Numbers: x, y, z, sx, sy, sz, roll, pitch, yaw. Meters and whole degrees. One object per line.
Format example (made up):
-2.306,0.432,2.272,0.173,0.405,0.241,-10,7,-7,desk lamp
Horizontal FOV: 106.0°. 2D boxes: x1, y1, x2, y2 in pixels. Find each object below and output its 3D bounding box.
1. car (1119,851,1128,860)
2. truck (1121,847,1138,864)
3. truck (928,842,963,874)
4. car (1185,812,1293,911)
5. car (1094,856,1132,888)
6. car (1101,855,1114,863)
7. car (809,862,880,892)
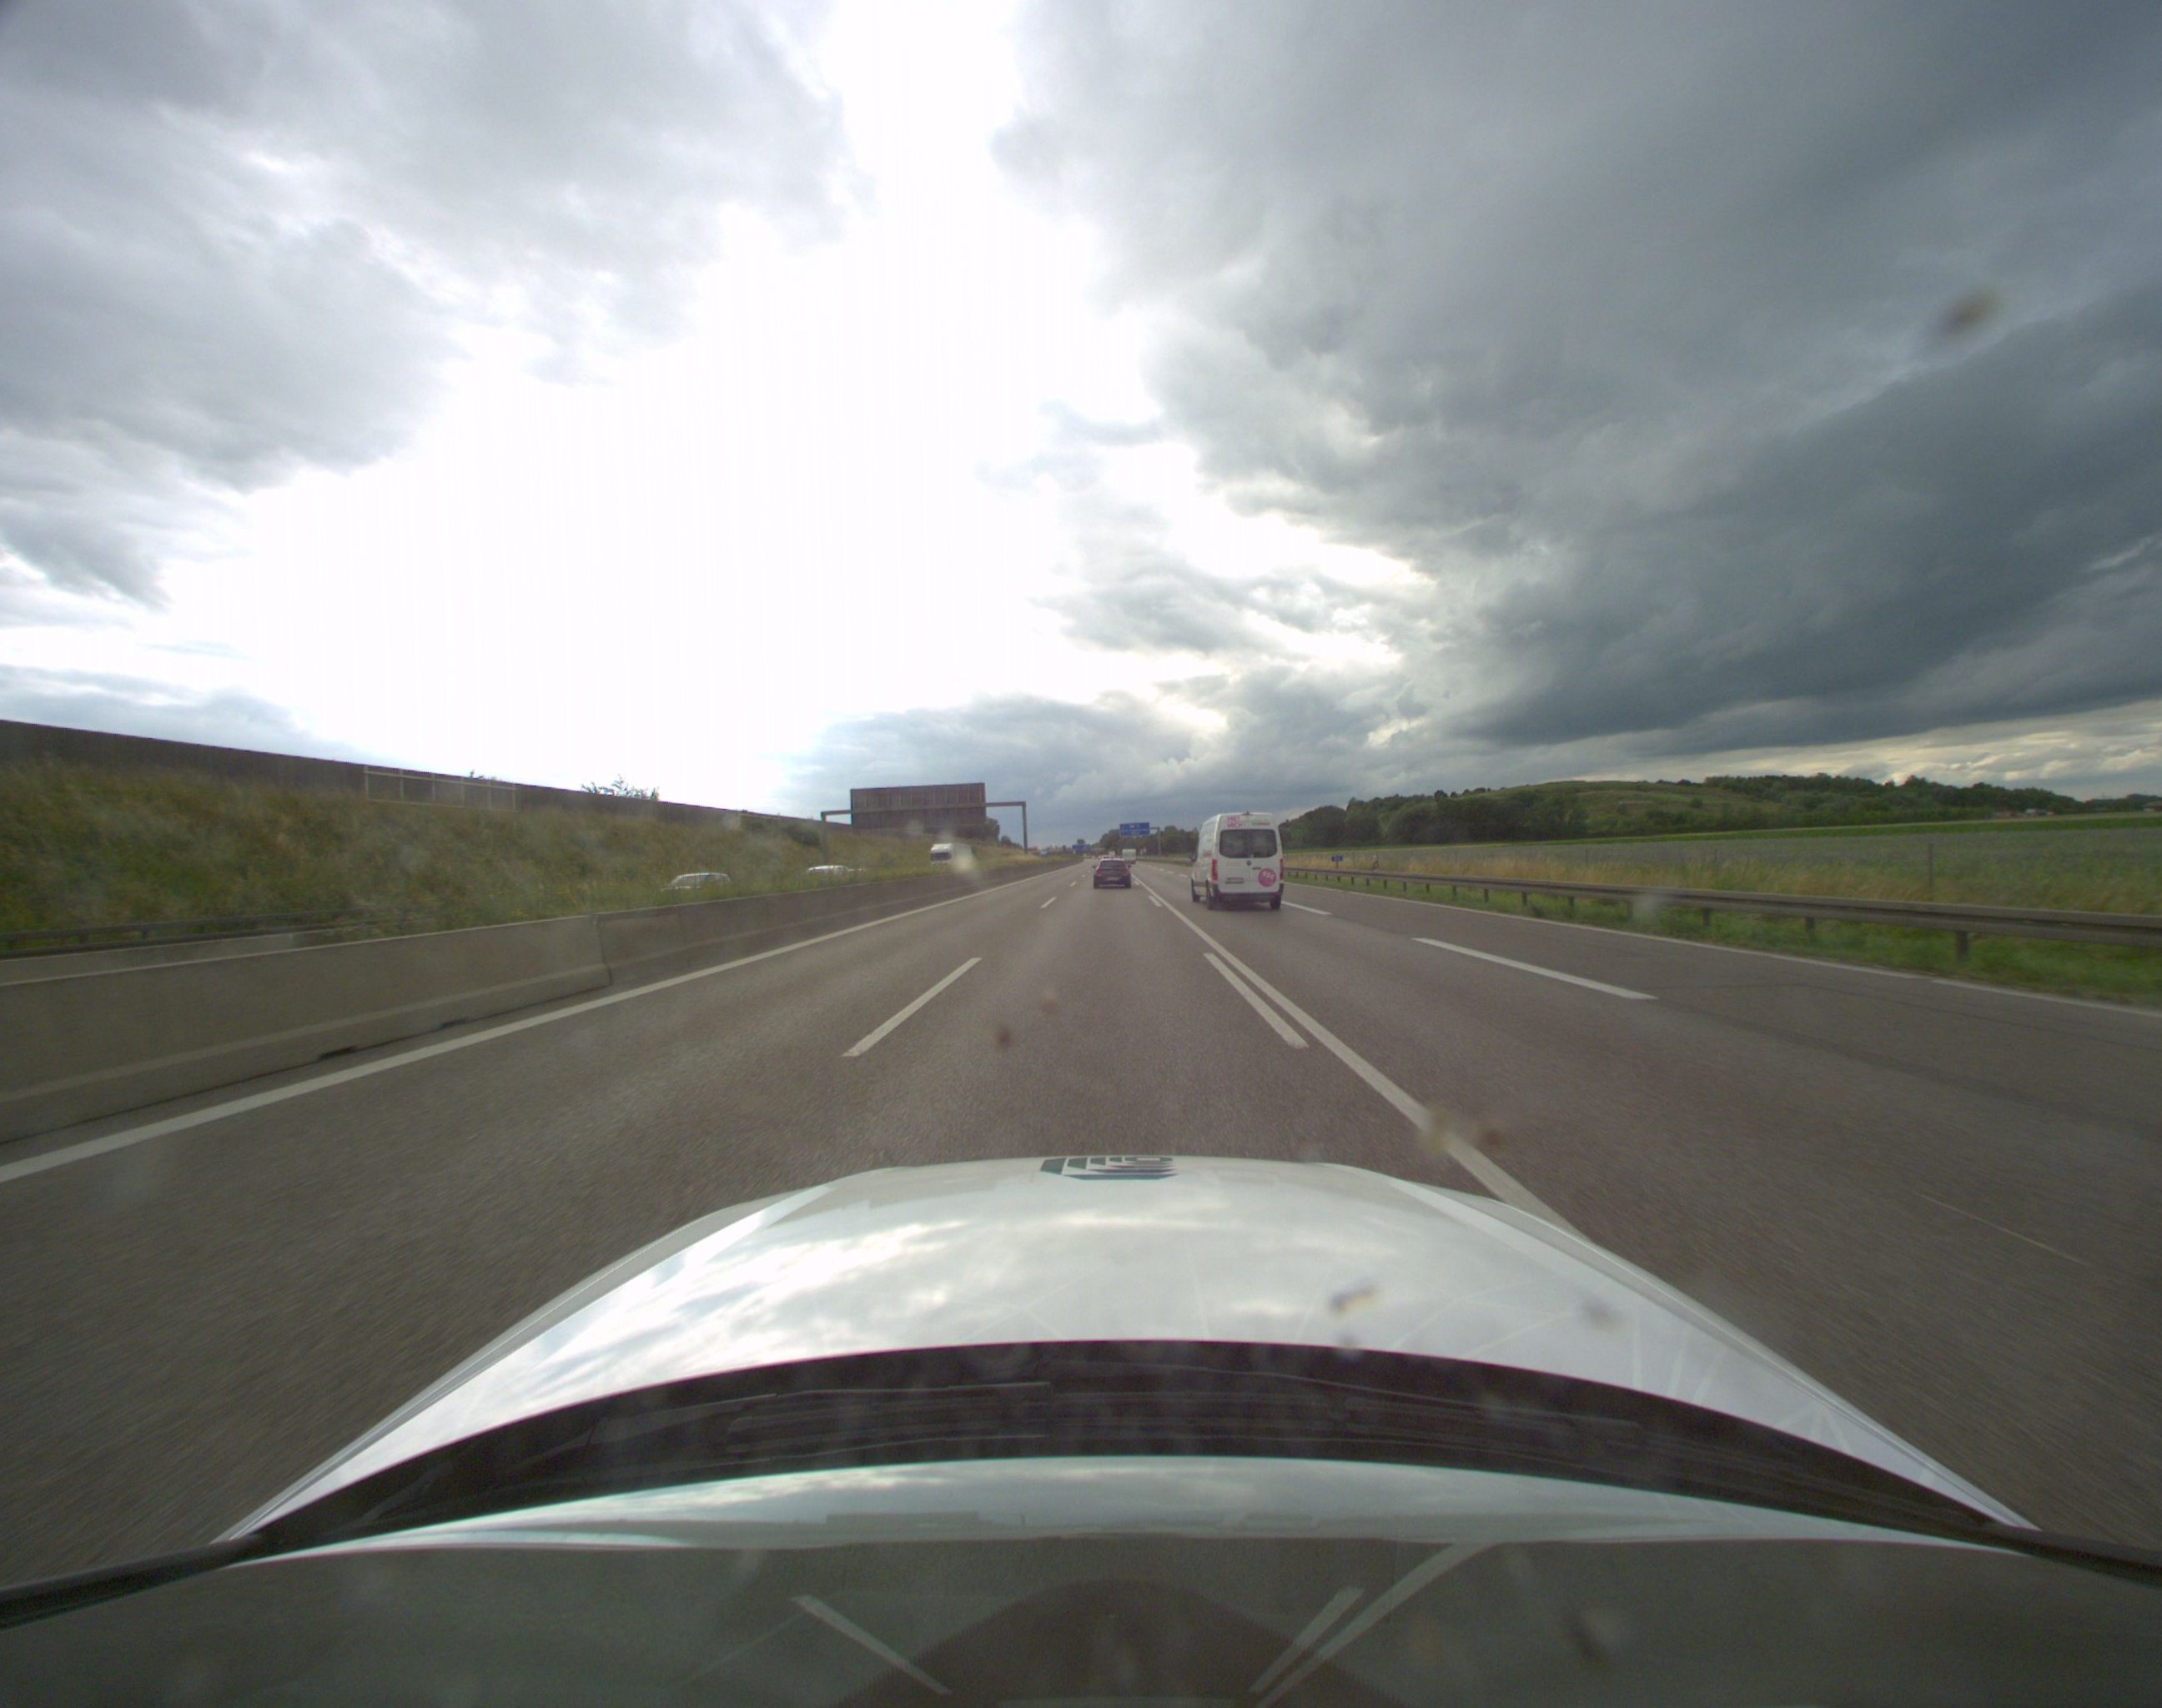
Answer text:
10.191,0.263,195.374,1.986,2.013,4.001,-2,0,1,car
8.654,0.240,145.601,2.700,2.964,12.452,0,0,2,truck
-17.094,0.498,103.061,2.716,3.677,7.493,-3,0,2,truck
4.575,0.183,24.650,2.212,2.568,6.259,-1,0,2,car
1.535,0.829,39.348,1.736,1.389,4.002,-1,0,2,car
4.275,0.810,131.469,1.986,1.298,4.001,-3,0,1,car
-11.762,1.131,40.879,1.986,1.364,4.942,0,0,2,car
